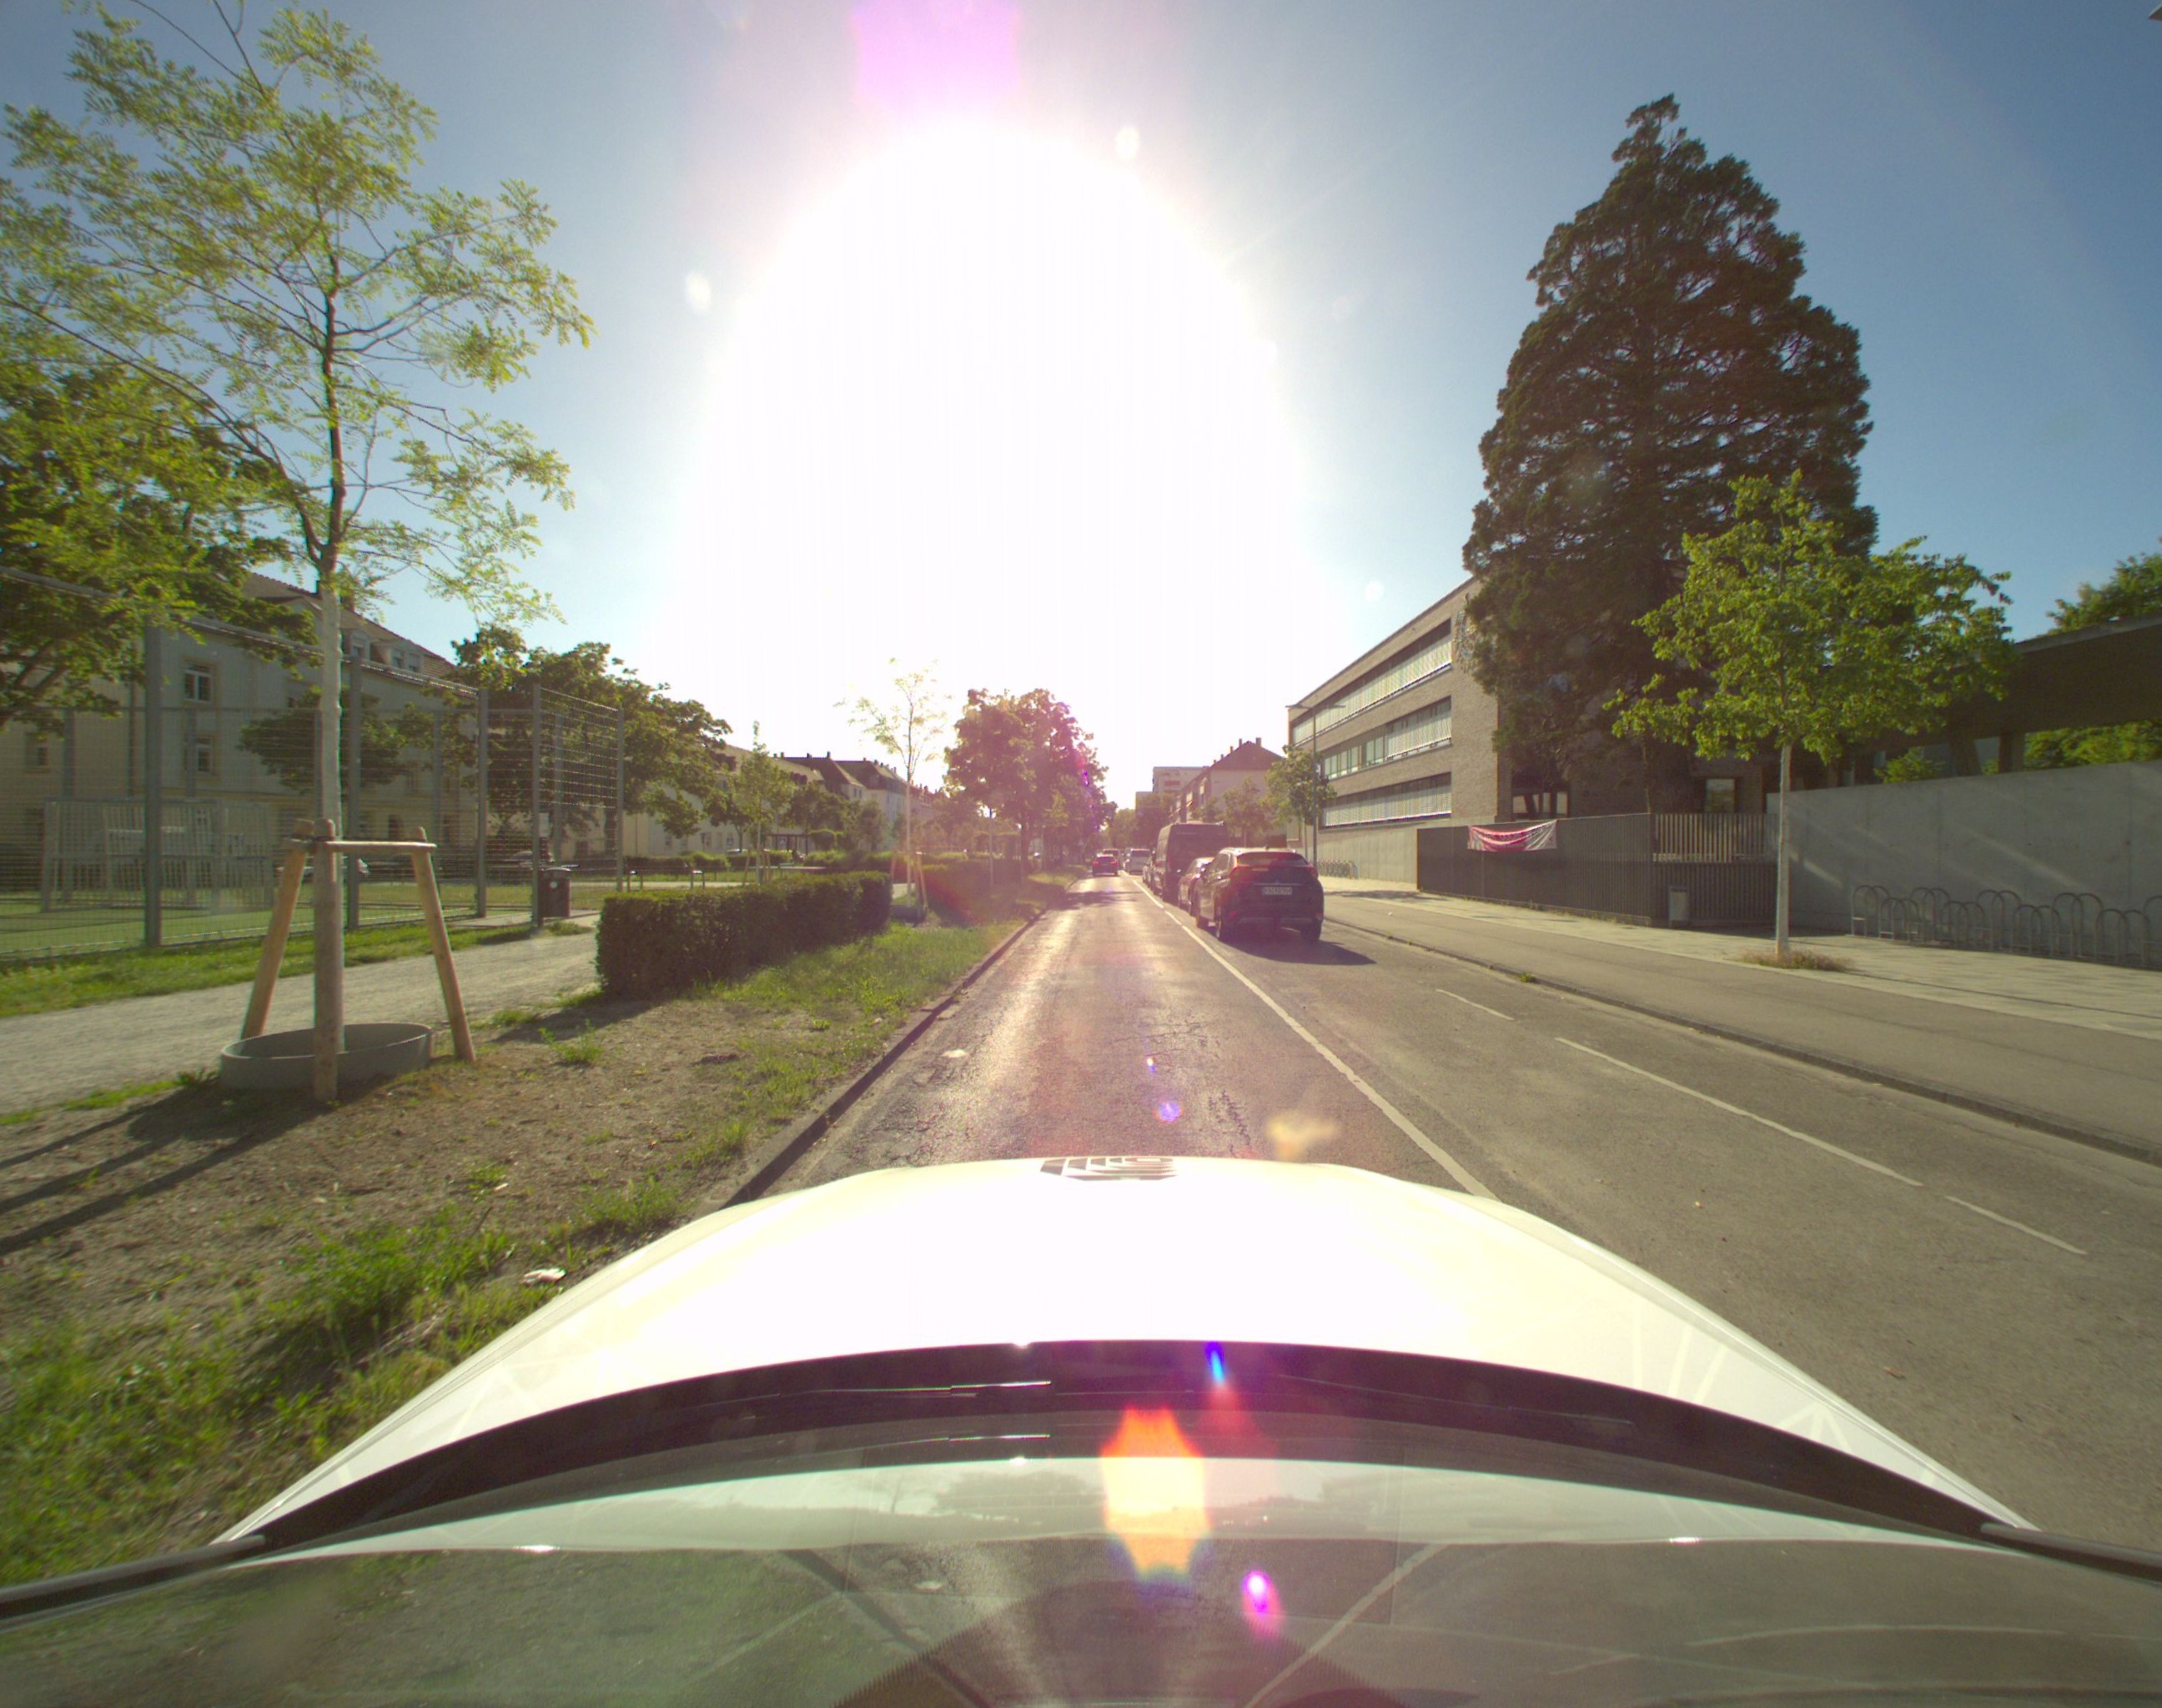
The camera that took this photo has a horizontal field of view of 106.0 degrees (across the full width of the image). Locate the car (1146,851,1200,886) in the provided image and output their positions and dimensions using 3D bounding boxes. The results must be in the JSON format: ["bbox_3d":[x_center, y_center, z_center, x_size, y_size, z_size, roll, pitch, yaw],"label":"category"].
[{"bbox_3d":[3.939,0.586,35.565,1.986,1.420,4.638,0,0,2],"label":"car"}]

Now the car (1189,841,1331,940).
[{"bbox_3d":[3.296,0.618,15.884,1.839,1.640,4.504,0,0,1],"label":"car"}]

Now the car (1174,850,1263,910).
[{"bbox_3d":[3.574,0.637,21.878,1.788,1.455,3.950,0,0,1],"label":"car"}]

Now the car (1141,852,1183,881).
[{"bbox_3d":[4.057,0.601,41.470,1.788,1.420,4.658,0,0,1],"label":"car"}]

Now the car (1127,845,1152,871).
[{"bbox_3d":[4.406,0.277,61.513,1.786,1.855,4.417,1,0,4],"label":"car"}]

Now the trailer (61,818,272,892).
[{"bbox_3d":[-38.734,0.034,34.832,2.335,2.870,5.803,1,0,1],"label":"trailer"}]

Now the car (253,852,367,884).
[{"bbox_3d":[-38.659,0.659,40.988,1.787,1.510,4.002,1,0,2],"label":"car"}]

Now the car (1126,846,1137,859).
[{"bbox_3d":[9.925,-0.327,159.835,1.986,2.430,4.502,3,0,2],"label":"car"}]

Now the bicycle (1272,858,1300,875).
[{"bbox_3d":[14.078,0.877,55.958,1.789,1.107,0.500,-2,0,-1],"label":"bicycle"}]

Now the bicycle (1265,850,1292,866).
[{"bbox_3d":[14.017,0.281,57.731,1.789,1.107,0.500,-2,0,-1],"label":"bicycle"}]

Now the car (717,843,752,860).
[{"bbox_3d":[-35.111,-0.247,82.601,1.788,1.652,4.001,1,0,1],"label":"car"}]

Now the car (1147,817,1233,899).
[{"bbox_3d":[3.607,0.126,28.163,2.108,2.515,6.531,0,0,0],"label":"car"}]

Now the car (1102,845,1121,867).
[{"bbox_3d":[2.961,0.200,79.576,1.787,2.122,4.002,1,0,2],"label":"car"}]

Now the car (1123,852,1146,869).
[{"bbox_3d":[4.468,0.553,68.248,1.758,1.319,4.169,2,-1,2],"label":"car"}]

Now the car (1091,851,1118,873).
[{"bbox_3d":[1.648,0.541,57.211,1.787,1.510,4.002,1,0,2],"label":"car"}]

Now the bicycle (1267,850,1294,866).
[{"bbox_3d":[14.012,0.280,57.204,1.789,1.107,0.500,-2,0,-1],"label":"bicycle"}]

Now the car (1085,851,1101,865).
[{"bbox_3d":[1.459,0.453,99.727,1.787,1.624,4.002,1,0,2],"label":"car"}]

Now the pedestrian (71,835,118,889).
[{"bbox_3d":[-30.513,0.251,25.186,0.645,1.661,0.650,0,0,1],"label":"pedestrian"}]
